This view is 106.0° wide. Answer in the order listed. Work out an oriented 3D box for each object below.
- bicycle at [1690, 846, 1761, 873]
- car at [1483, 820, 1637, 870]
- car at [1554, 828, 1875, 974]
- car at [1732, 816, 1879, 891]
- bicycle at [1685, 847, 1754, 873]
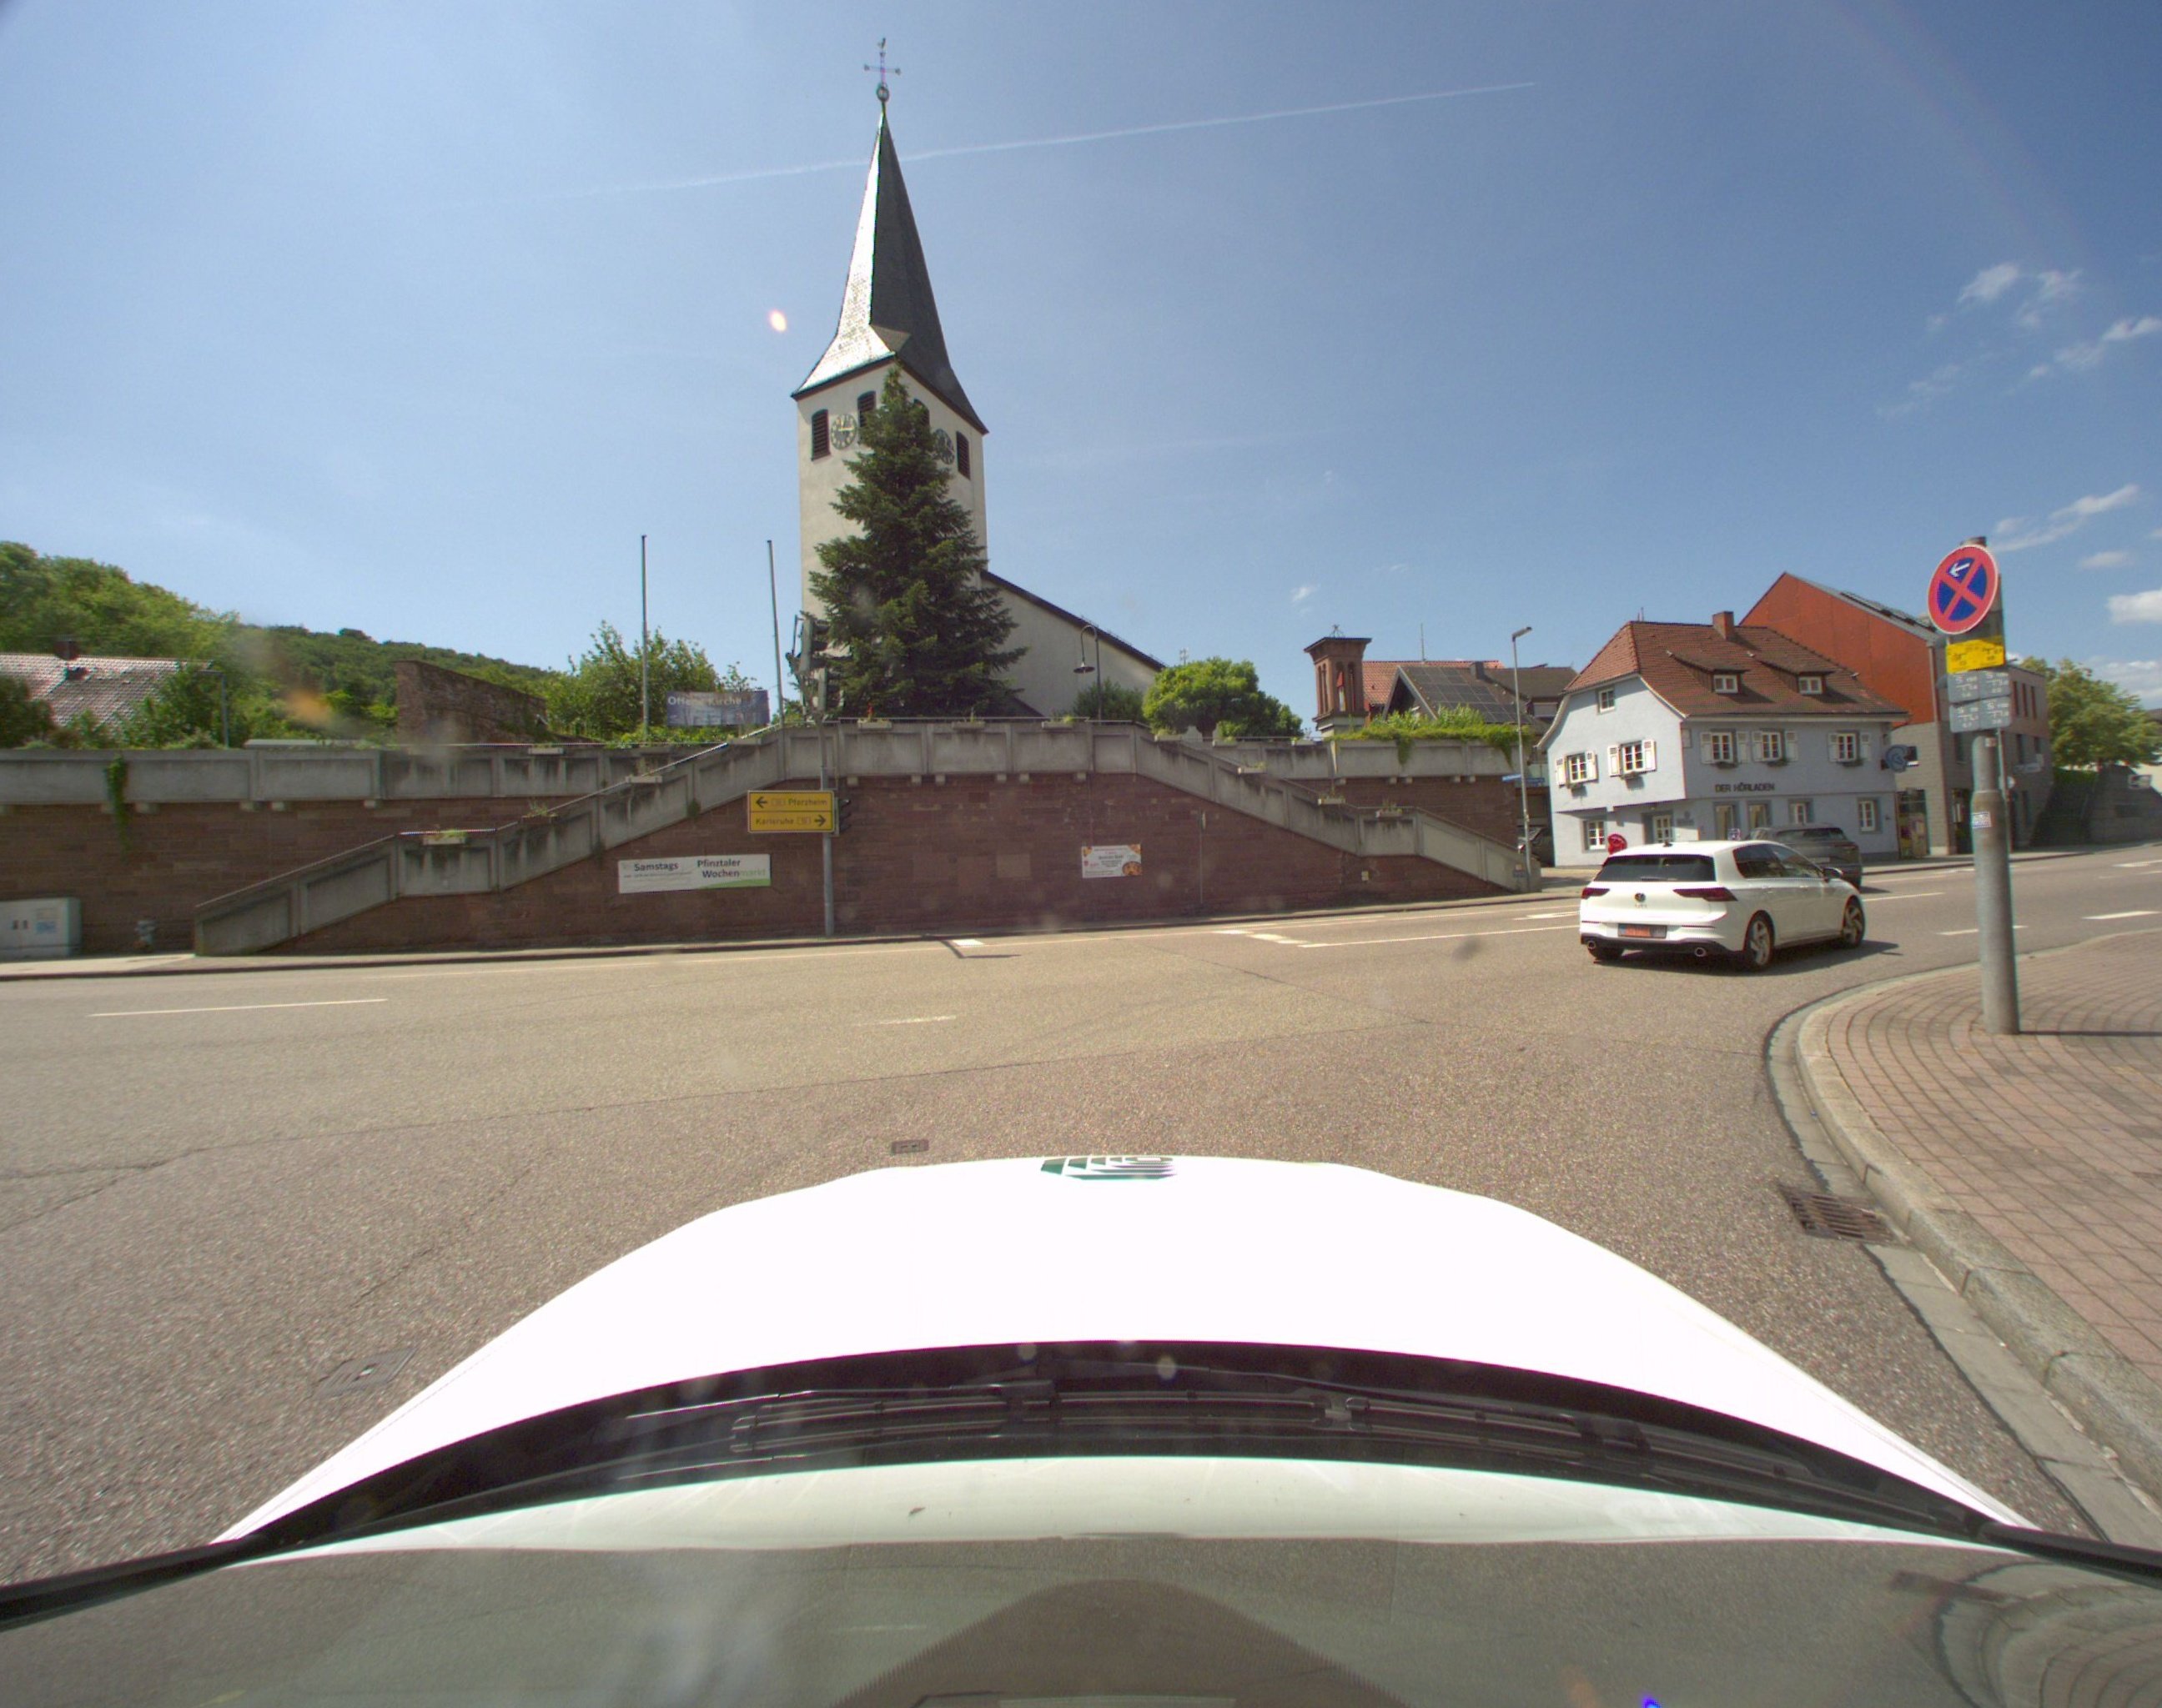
[{"bbox_3d":[22.503,0.189,28.470,1.801,0.899,0.626,-2,0,22],"label":"bicycle"},{"bbox_3d":[23.096,-0.417,39.408,5.965,2.014,2.520,-3,-3,-5],"label":"car"},{"bbox_3d":[7.932,0.488,10.153,3.874,1.458,1.771,-2,-1,-30],"label":"car"},{"bbox_3d":[17.281,0.029,19.656,1.930,1.582,4.353,-1,-1,32],"label":"car"},{"bbox_3d":[22.767,0.213,29.085,1.801,0.899,0.652,-2,0,22],"label":"bicycle"}]
